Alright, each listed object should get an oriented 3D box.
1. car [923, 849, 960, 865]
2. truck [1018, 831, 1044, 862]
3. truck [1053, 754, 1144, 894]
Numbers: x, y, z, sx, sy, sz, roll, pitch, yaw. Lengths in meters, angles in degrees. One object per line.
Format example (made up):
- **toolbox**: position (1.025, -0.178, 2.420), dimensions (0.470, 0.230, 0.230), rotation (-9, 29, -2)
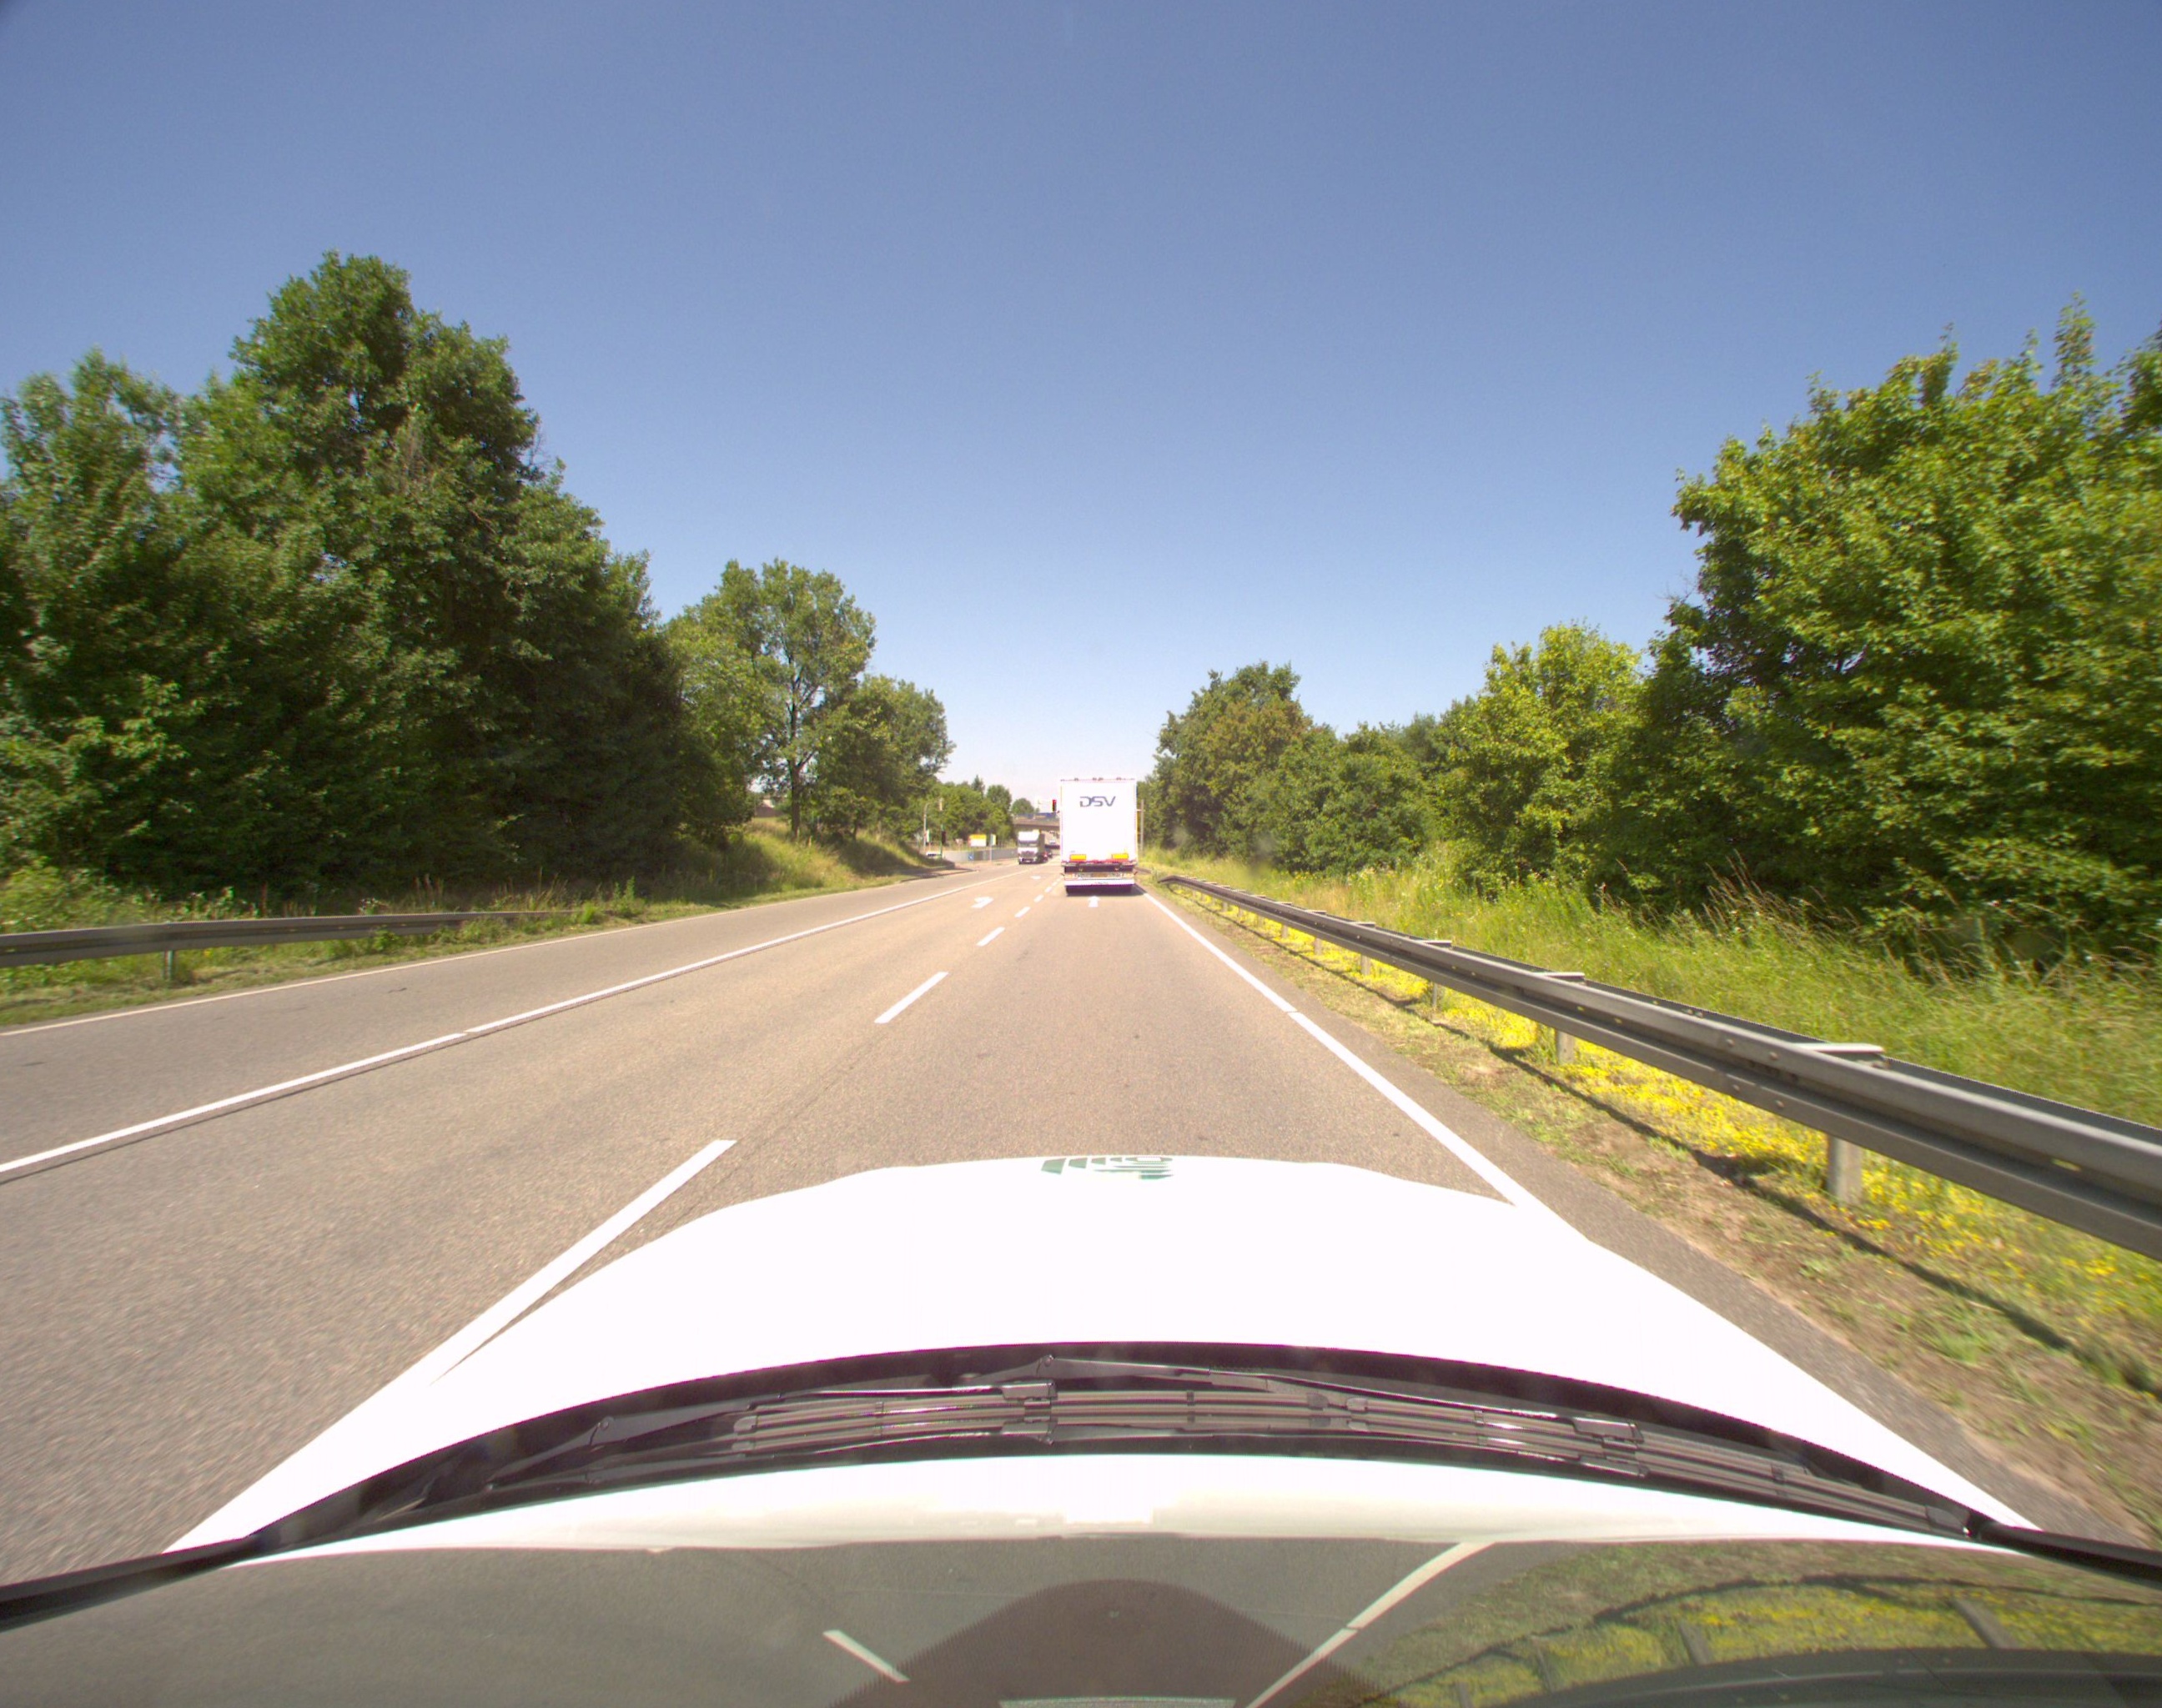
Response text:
- **car**: position (-17.305, 0.387, 101.345), dimensions (1.784, 1.872, 4.448), rotation (0, 1, 40)
- **truck**: position (-6.436, -1.022, 105.959), dimensions (2.345, 3.749, 12.627), rotation (-1, 1, 1)
- **truck**: position (0.592, -0.996, 31.639), dimensions (2.940, 4.568, 9.861), rotation (-1, 0, 0)
